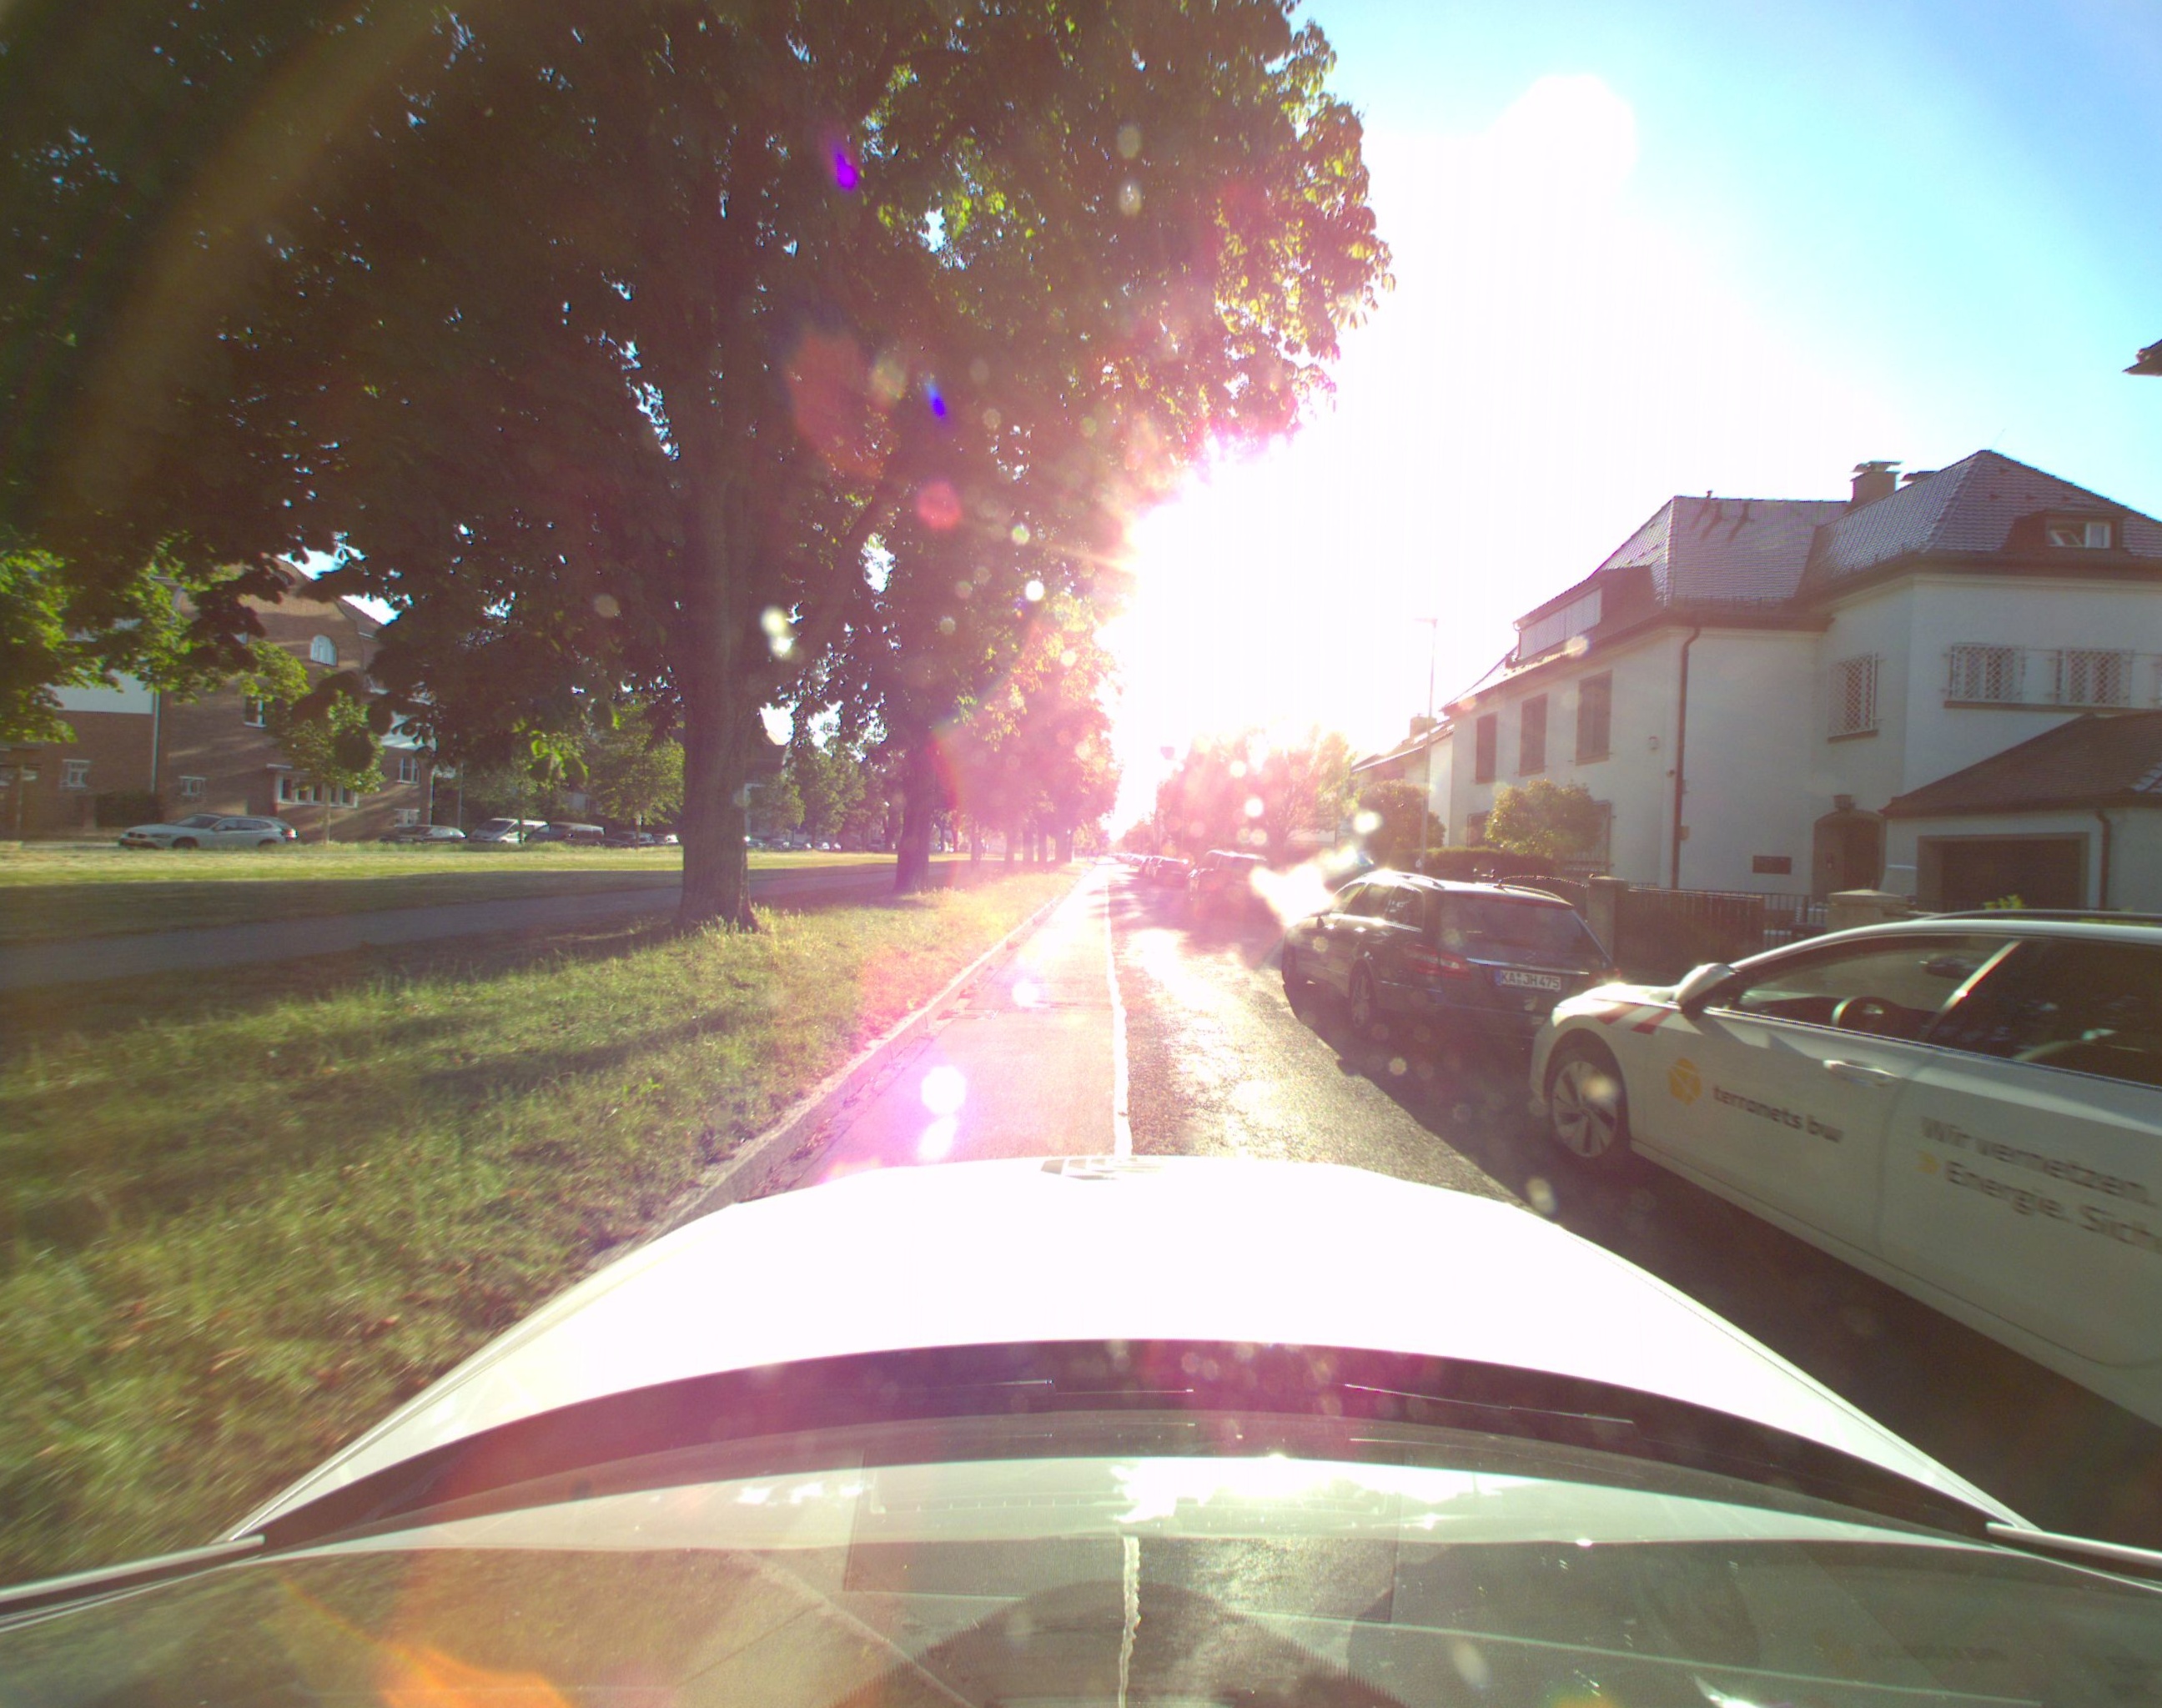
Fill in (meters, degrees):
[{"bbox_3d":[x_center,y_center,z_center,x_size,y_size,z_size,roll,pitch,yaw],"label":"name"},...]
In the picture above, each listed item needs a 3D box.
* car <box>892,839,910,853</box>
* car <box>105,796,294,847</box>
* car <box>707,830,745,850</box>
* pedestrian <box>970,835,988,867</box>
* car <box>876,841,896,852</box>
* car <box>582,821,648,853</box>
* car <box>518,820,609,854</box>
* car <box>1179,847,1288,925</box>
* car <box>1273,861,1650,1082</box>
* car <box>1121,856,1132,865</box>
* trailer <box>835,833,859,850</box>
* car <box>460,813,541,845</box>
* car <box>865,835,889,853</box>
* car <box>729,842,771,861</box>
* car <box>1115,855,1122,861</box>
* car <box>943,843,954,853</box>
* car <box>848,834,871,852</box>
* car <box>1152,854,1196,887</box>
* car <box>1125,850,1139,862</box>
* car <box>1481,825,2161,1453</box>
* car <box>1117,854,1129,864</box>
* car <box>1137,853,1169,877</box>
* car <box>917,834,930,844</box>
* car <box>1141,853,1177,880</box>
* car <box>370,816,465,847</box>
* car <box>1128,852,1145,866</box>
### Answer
[{"bbox_3d":[-29.335,-1.277,132.860,1.678,2.175,4.317,3,0,3],"label":"car"},{"bbox_3d":[-32.571,-1.147,30.348,1.812,1.639,4.652,3,0,2],"label":"car"},{"bbox_3d":[-36.928,-1.434,84.844,2.023,2.014,4.003,0,-1,3],"label":"car"},{"bbox_3d":[-5.769,-0.150,46.199,0.720,1.758,0.995,3,0,8],"label":"pedestrian"},{"bbox_3d":[-29.312,-1.073,122.546,1.678,1.559,4.317,3,0,3],"label":"car"},{"bbox_3d":[-31.982,-1.147,56.062,1.986,2.013,4.002,4,0,2],"label":"car"},{"bbox_3d":[-31.898,-1.008,50.384,1.985,1.940,5.250,3,1,3],"label":"car"},{"bbox_3d":[4.079,0.785,22.645,1.987,1.737,4.864,6,0,1],"label":"car"},{"bbox_3d":[3.430,0.913,8.477,1.773,1.463,4.595,5,0,2],"label":"car"},{"bbox_3d":[8.274,1.154,148.670,1.755,1.521,4.000,4,0,1],"label":"car"},{"bbox_3d":[-35.157,-1.887,122.370,1.986,2.428,4.726,3,0,2],"label":"trailer"},{"bbox_3d":[-37.394,-1.550,52.583,1.809,1.838,4.411,3,0,2],"label":"car"},{"bbox_3d":[-34.788,-1.624,138.855,2.428,2.922,5.820,0,-1,2],"label":"car"},{"bbox_3d":[-31.223,-0.202,76.898,1.984,1.684,4.004,3,0,4],"label":"car"},{"bbox_3d":[10.174,1.127,220.084,1.972,1.683,4.003,3,0,3],"label":"car"},{"bbox_3d":[-32.647,-1.438,200.756,1.986,2.409,4.365,0,-1,2],"label":"car"},{"bbox_3d":[-34.953,-1.726,128.667,1.986,2.672,5.190,3,0,2],"label":"car"},{"bbox_3d":[4.740,0.826,42.168,1.787,1.492,4.675,3,0,1],"label":"car"},{"bbox_3d":[7.407,0.282,118.220,1.752,1.605,4.359,2,0,1],"label":"car"},{"bbox_3d":[3.566,0.871,2.809,1.987,1.464,4.548,10,-3,1],"label":"car"},{"bbox_3d":[7.152,0.853,138.722,1.752,1.605,4.359,2,0,1],"label":"car"},{"bbox_3d":[5.074,0.764,57.682,1.744,1.477,4.287,4,0,-1],"label":"car"},{"bbox_3d":[-34.109,-3.213,176.499,1.986,2.014,4.485,0,-2,1],"label":"car"},{"bbox_3d":[5.022,0.777,52.665,1.687,1.483,3.926,7,0,-2],"label":"car"},{"bbox_3d":[-38.078,-1.253,46.906,1.750,1.623,4.308,3,0,2],"label":"car"},{"bbox_3d":[6.446,0.567,94.932,1.750,1.419,4.074,9,0,2],"label":"car"}]
